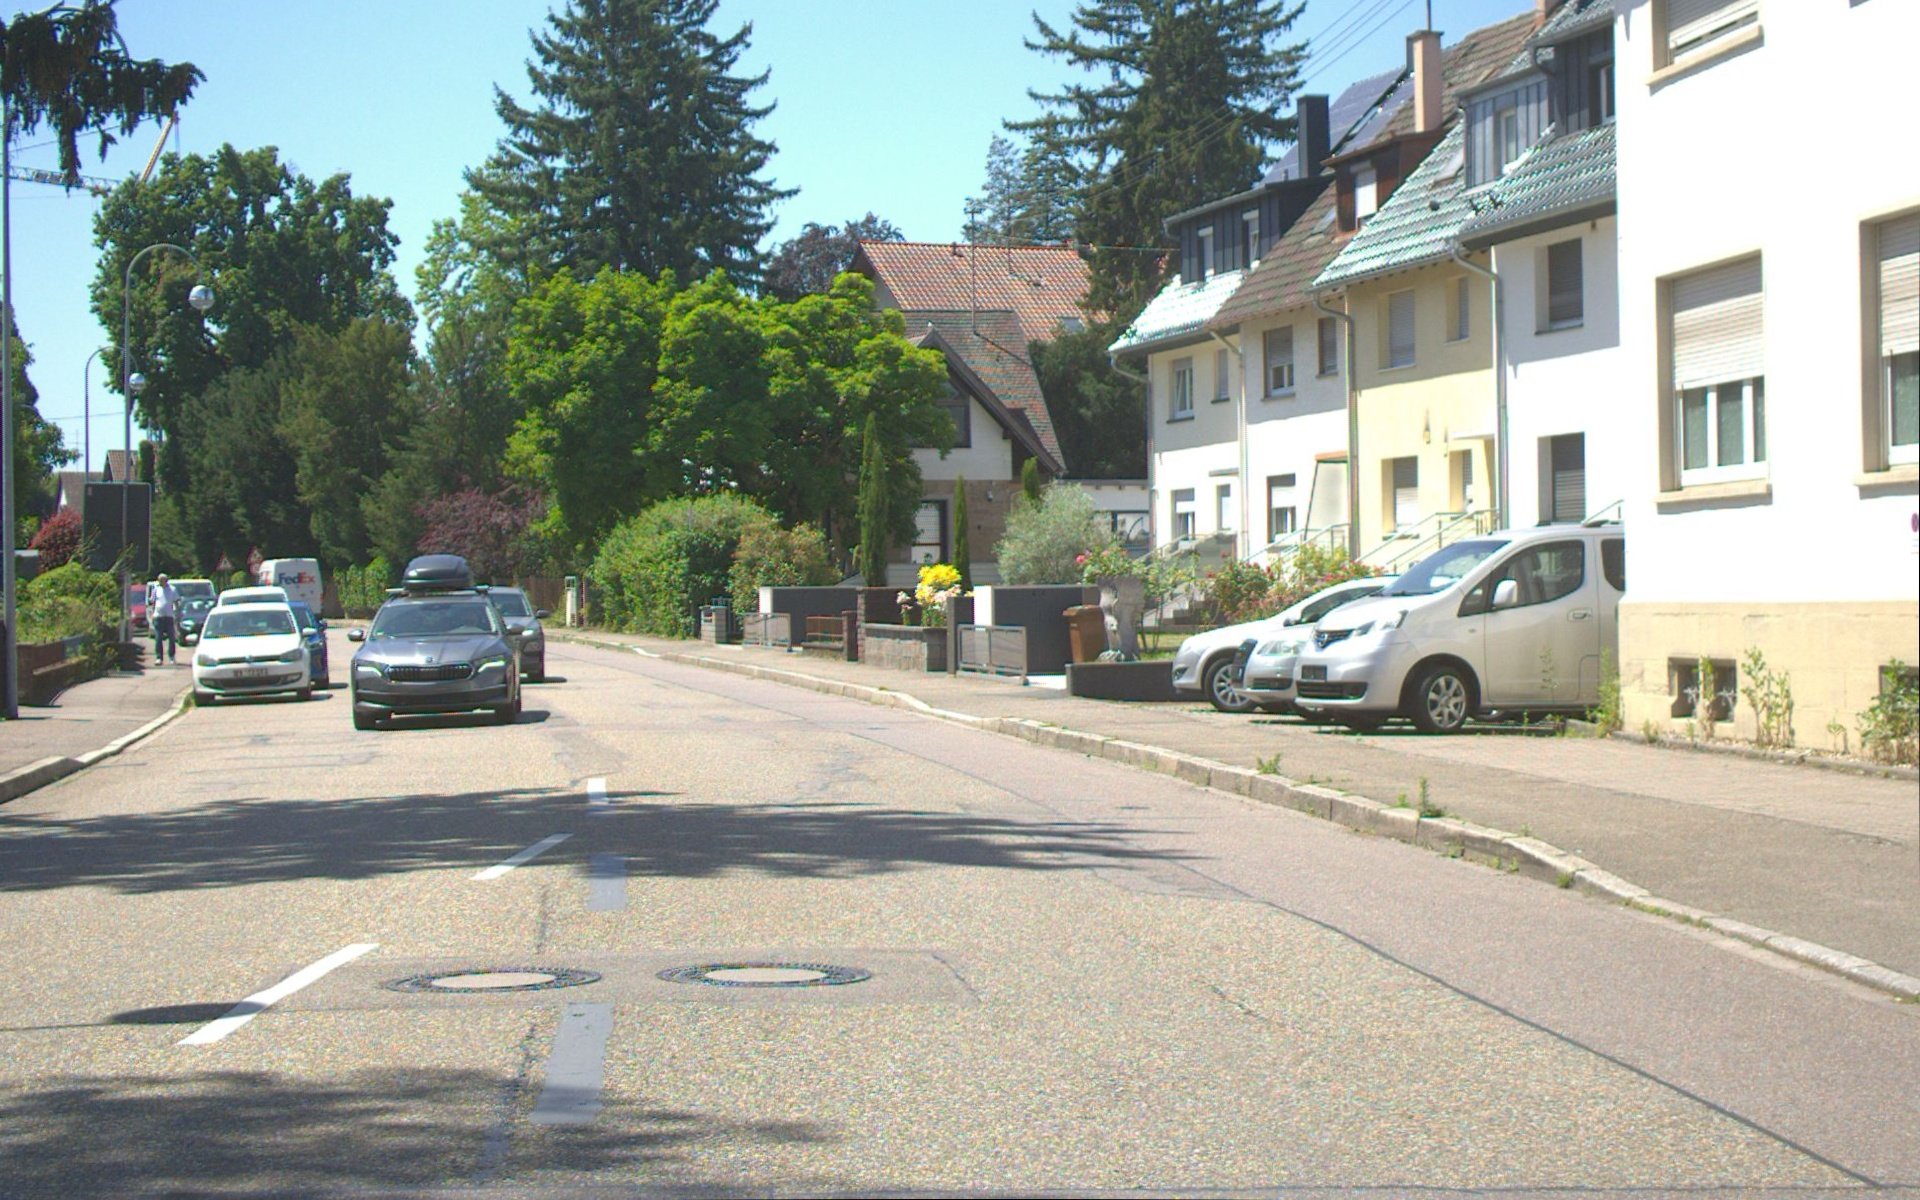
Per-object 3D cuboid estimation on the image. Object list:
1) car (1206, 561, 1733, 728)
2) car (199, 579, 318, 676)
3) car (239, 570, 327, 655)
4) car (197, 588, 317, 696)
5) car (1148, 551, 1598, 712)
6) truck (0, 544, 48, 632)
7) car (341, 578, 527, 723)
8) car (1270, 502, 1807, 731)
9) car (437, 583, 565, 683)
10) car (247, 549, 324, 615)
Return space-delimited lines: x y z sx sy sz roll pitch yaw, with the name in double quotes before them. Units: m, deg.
"car" 4.837 0.414 32.946 4.639 1.404 1.769 2 0 -7
"car" -11.646 0.430 57.254 1.768 1.434 4.363 -3 1 -10
"car" -15.009 0.252 76.132 1.722 1.730 3.888 -3 1 -12
"car" -10.409 0.594 51.064 1.578 1.418 3.942 -3 1 -10
"car" 4.293 0.324 35.787 4.296 1.542 1.754 1 -1 24
"truck" -22.406 -0.235 76.952 3.767 1.931 1.547 -2 1 -13
"car" -5.932 0.524 39.180 1.806 1.483 4.387 -2 1 -6
"car" 5.088 0.152 30.353 4.289 1.824 1.740 2 0 -16
"car" -7.536 0.513 56.688 1.740 1.500 4.143 -3 1 -4
"car" -25.062 -0.671 127.665 2.143 2.307 4.854 -3 1 -18
